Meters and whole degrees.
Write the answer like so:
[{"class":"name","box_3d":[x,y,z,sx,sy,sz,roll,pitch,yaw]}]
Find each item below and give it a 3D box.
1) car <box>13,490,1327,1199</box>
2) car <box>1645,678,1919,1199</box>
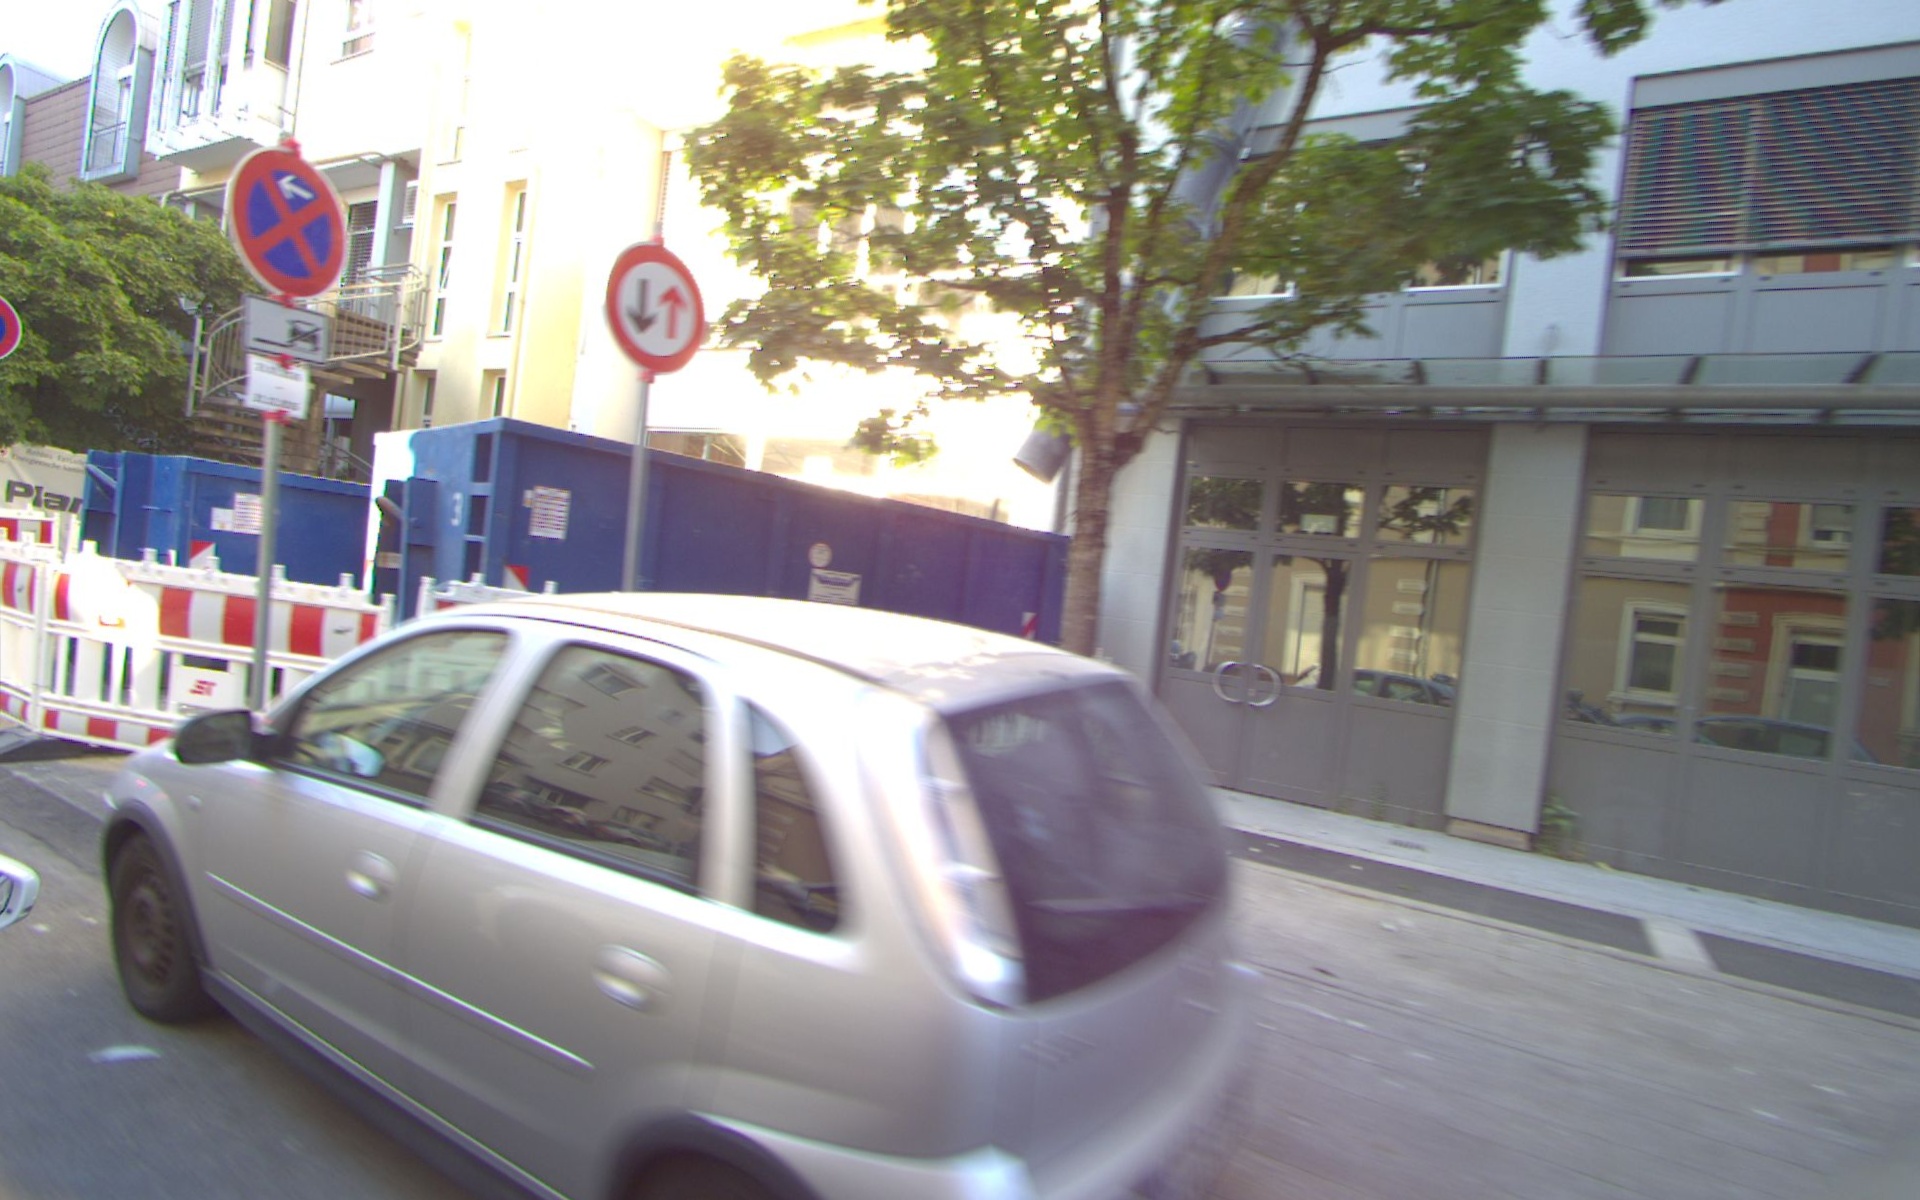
[{"class":"car","box_3d":[-1.077,0.614,2.993,3.669,1.495,1.677,7,2,33]},{"class":"car","box_3d":[2.765,1.097,0.455,3.904,1.545,1.677,7,2,32]}]
